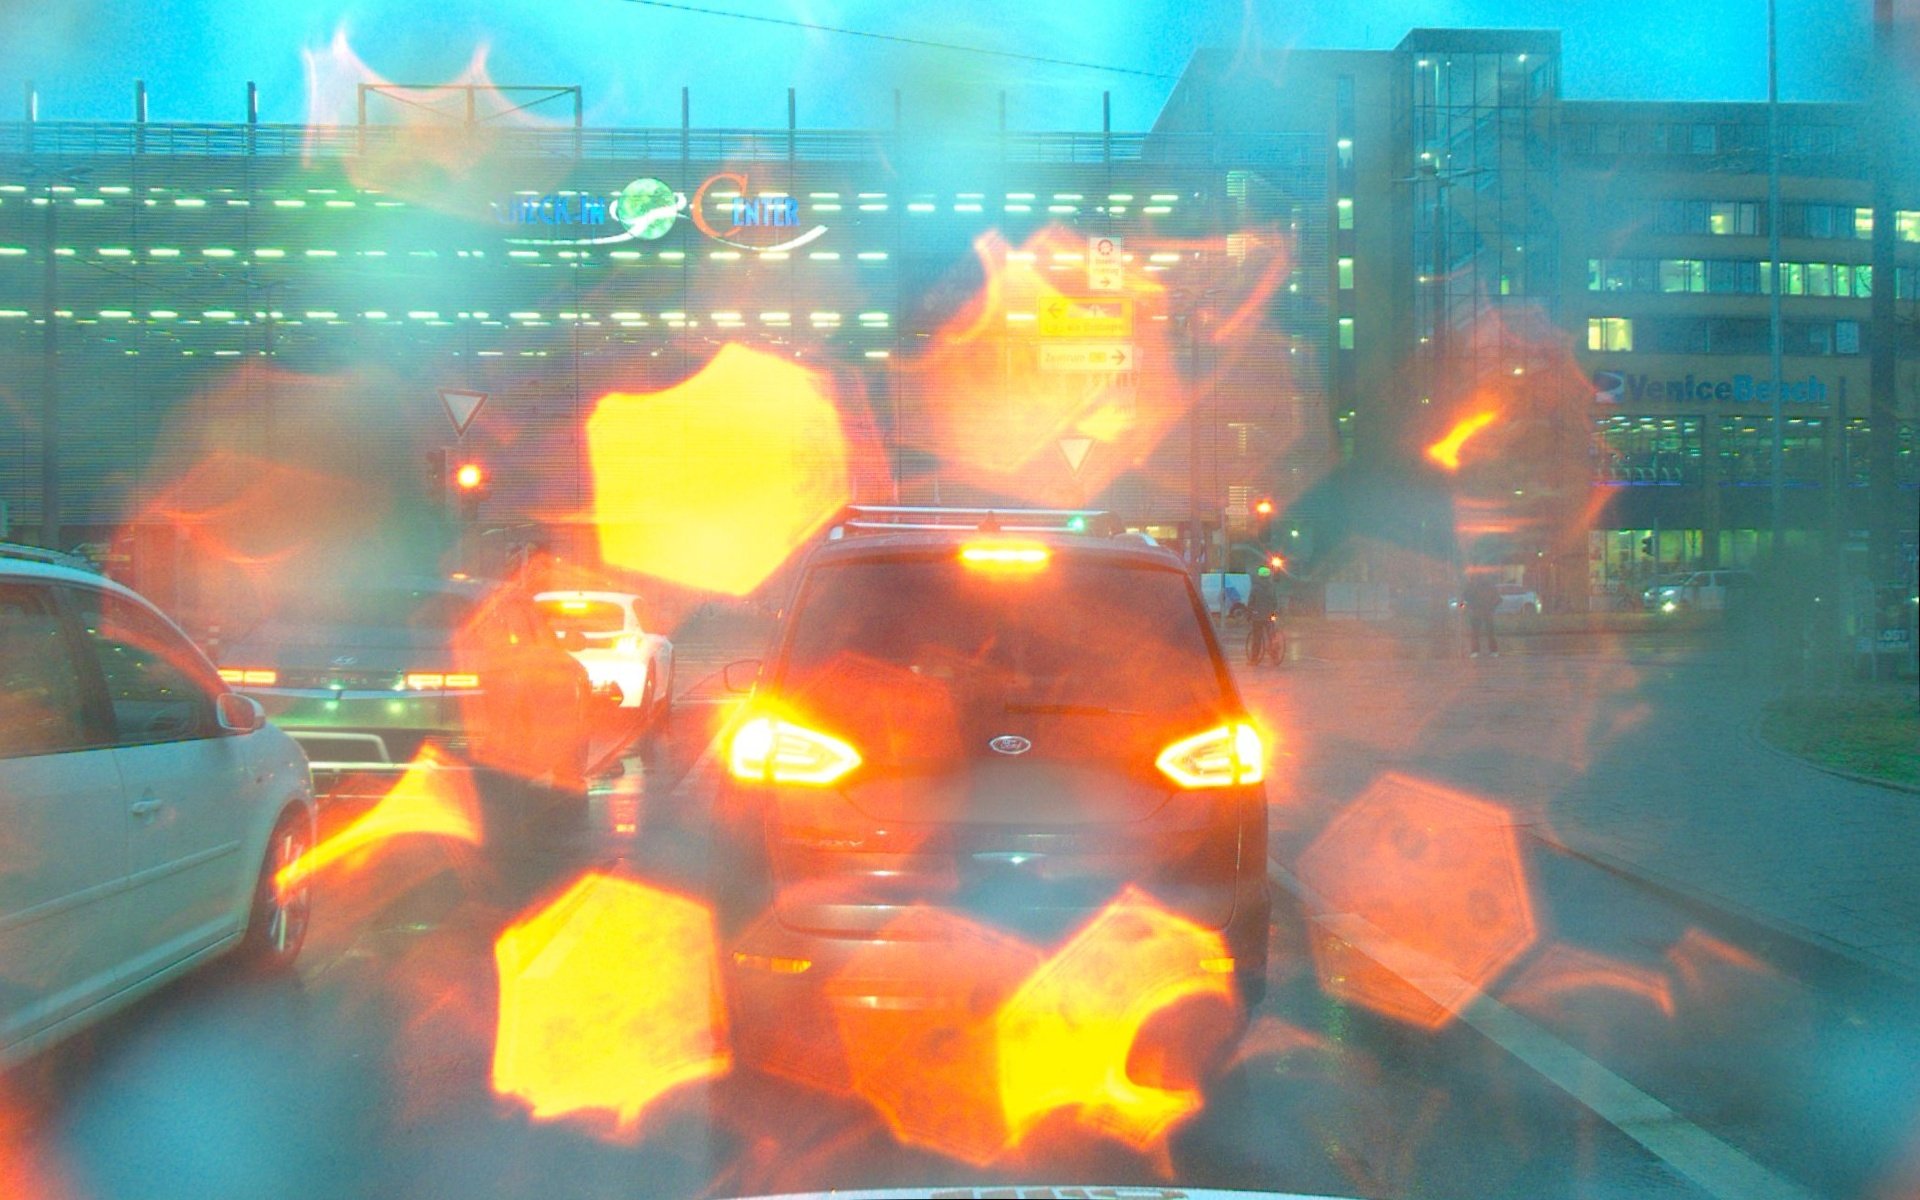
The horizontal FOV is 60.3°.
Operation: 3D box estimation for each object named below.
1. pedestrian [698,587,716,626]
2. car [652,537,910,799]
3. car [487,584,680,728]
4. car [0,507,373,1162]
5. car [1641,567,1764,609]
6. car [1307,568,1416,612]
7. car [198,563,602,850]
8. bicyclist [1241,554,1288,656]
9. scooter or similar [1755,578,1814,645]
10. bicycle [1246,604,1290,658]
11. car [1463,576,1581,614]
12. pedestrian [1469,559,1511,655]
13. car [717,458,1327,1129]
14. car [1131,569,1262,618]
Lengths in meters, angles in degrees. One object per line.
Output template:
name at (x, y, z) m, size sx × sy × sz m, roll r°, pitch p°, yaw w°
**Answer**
pedestrian at (-11.877, 0.321, 77.577) m, size 0.772 × 1.818 × 0.732 m, roll 0°, pitch 0°, yaw -6°
car at (-1.472, 0.453, 13.957) m, size 1.808 × 1.837 × 4.482 m, roll 0°, pitch 1°, yaw -6°
car at (-4.246, 0.568, 19.189) m, size 1.724 × 1.489 × 3.912 m, roll 0°, pitch 0°, yaw -6°
car at (-3.266, 0.580, 5.080) m, size 1.638 × 1.627 × 4.220 m, roll 0°, pitch 0°, yaw -4°
car at (31.191, -0.521, 69.536) m, size 4.556 × 1.706 × 1.781 m, roll -1°, pitch 0°, yaw -12°
car at (17.747, -0.456, 73.205) m, size 4.276 × 1.904 × 1.902 m, roll -1°, pitch 0°, yaw -7°
car at (-3.632, 0.580, 11.550) m, size 1.786 × 1.597 × 4.355 m, roll 0°, pitch 0°, yaw -7°
bicyclist at (5.858, 0.096, 31.843) m, size 0.774 × 1.923 × 0.990 m, roll 0°, pitch 0°, yaw 5°
scooter or similar at (15.443, 0.203, 30.975) m, size 1.290 × 1.227 × 0.331 m, roll 0°, pitch 0°, yaw -30°
bicycle at (5.932, 0.585, 31.904) m, size 0.641 × 0.990 × 1.867 m, roll 0°, pitch 0°, yaw 5°
car at (23.040, -0.215, 67.883) m, size 4.245 × 1.512 × 1.863 m, roll -1°, pitch 0°, yaw -7°
pedestrian at (10.705, 0.141, 33.390) m, size 0.757 × 1.910 × 0.635 m, roll 0°, pitch 0°, yaw 22°
car at (0.134, 0.525, 6.554) m, size 1.640 × 1.810 × 3.999 m, roll 1°, pitch 0°, yaw -1°
car at (9.389, -0.265, 65.811) m, size 4.851 × 1.904 × 1.903 m, roll -1°, pitch 0°, yaw -6°
